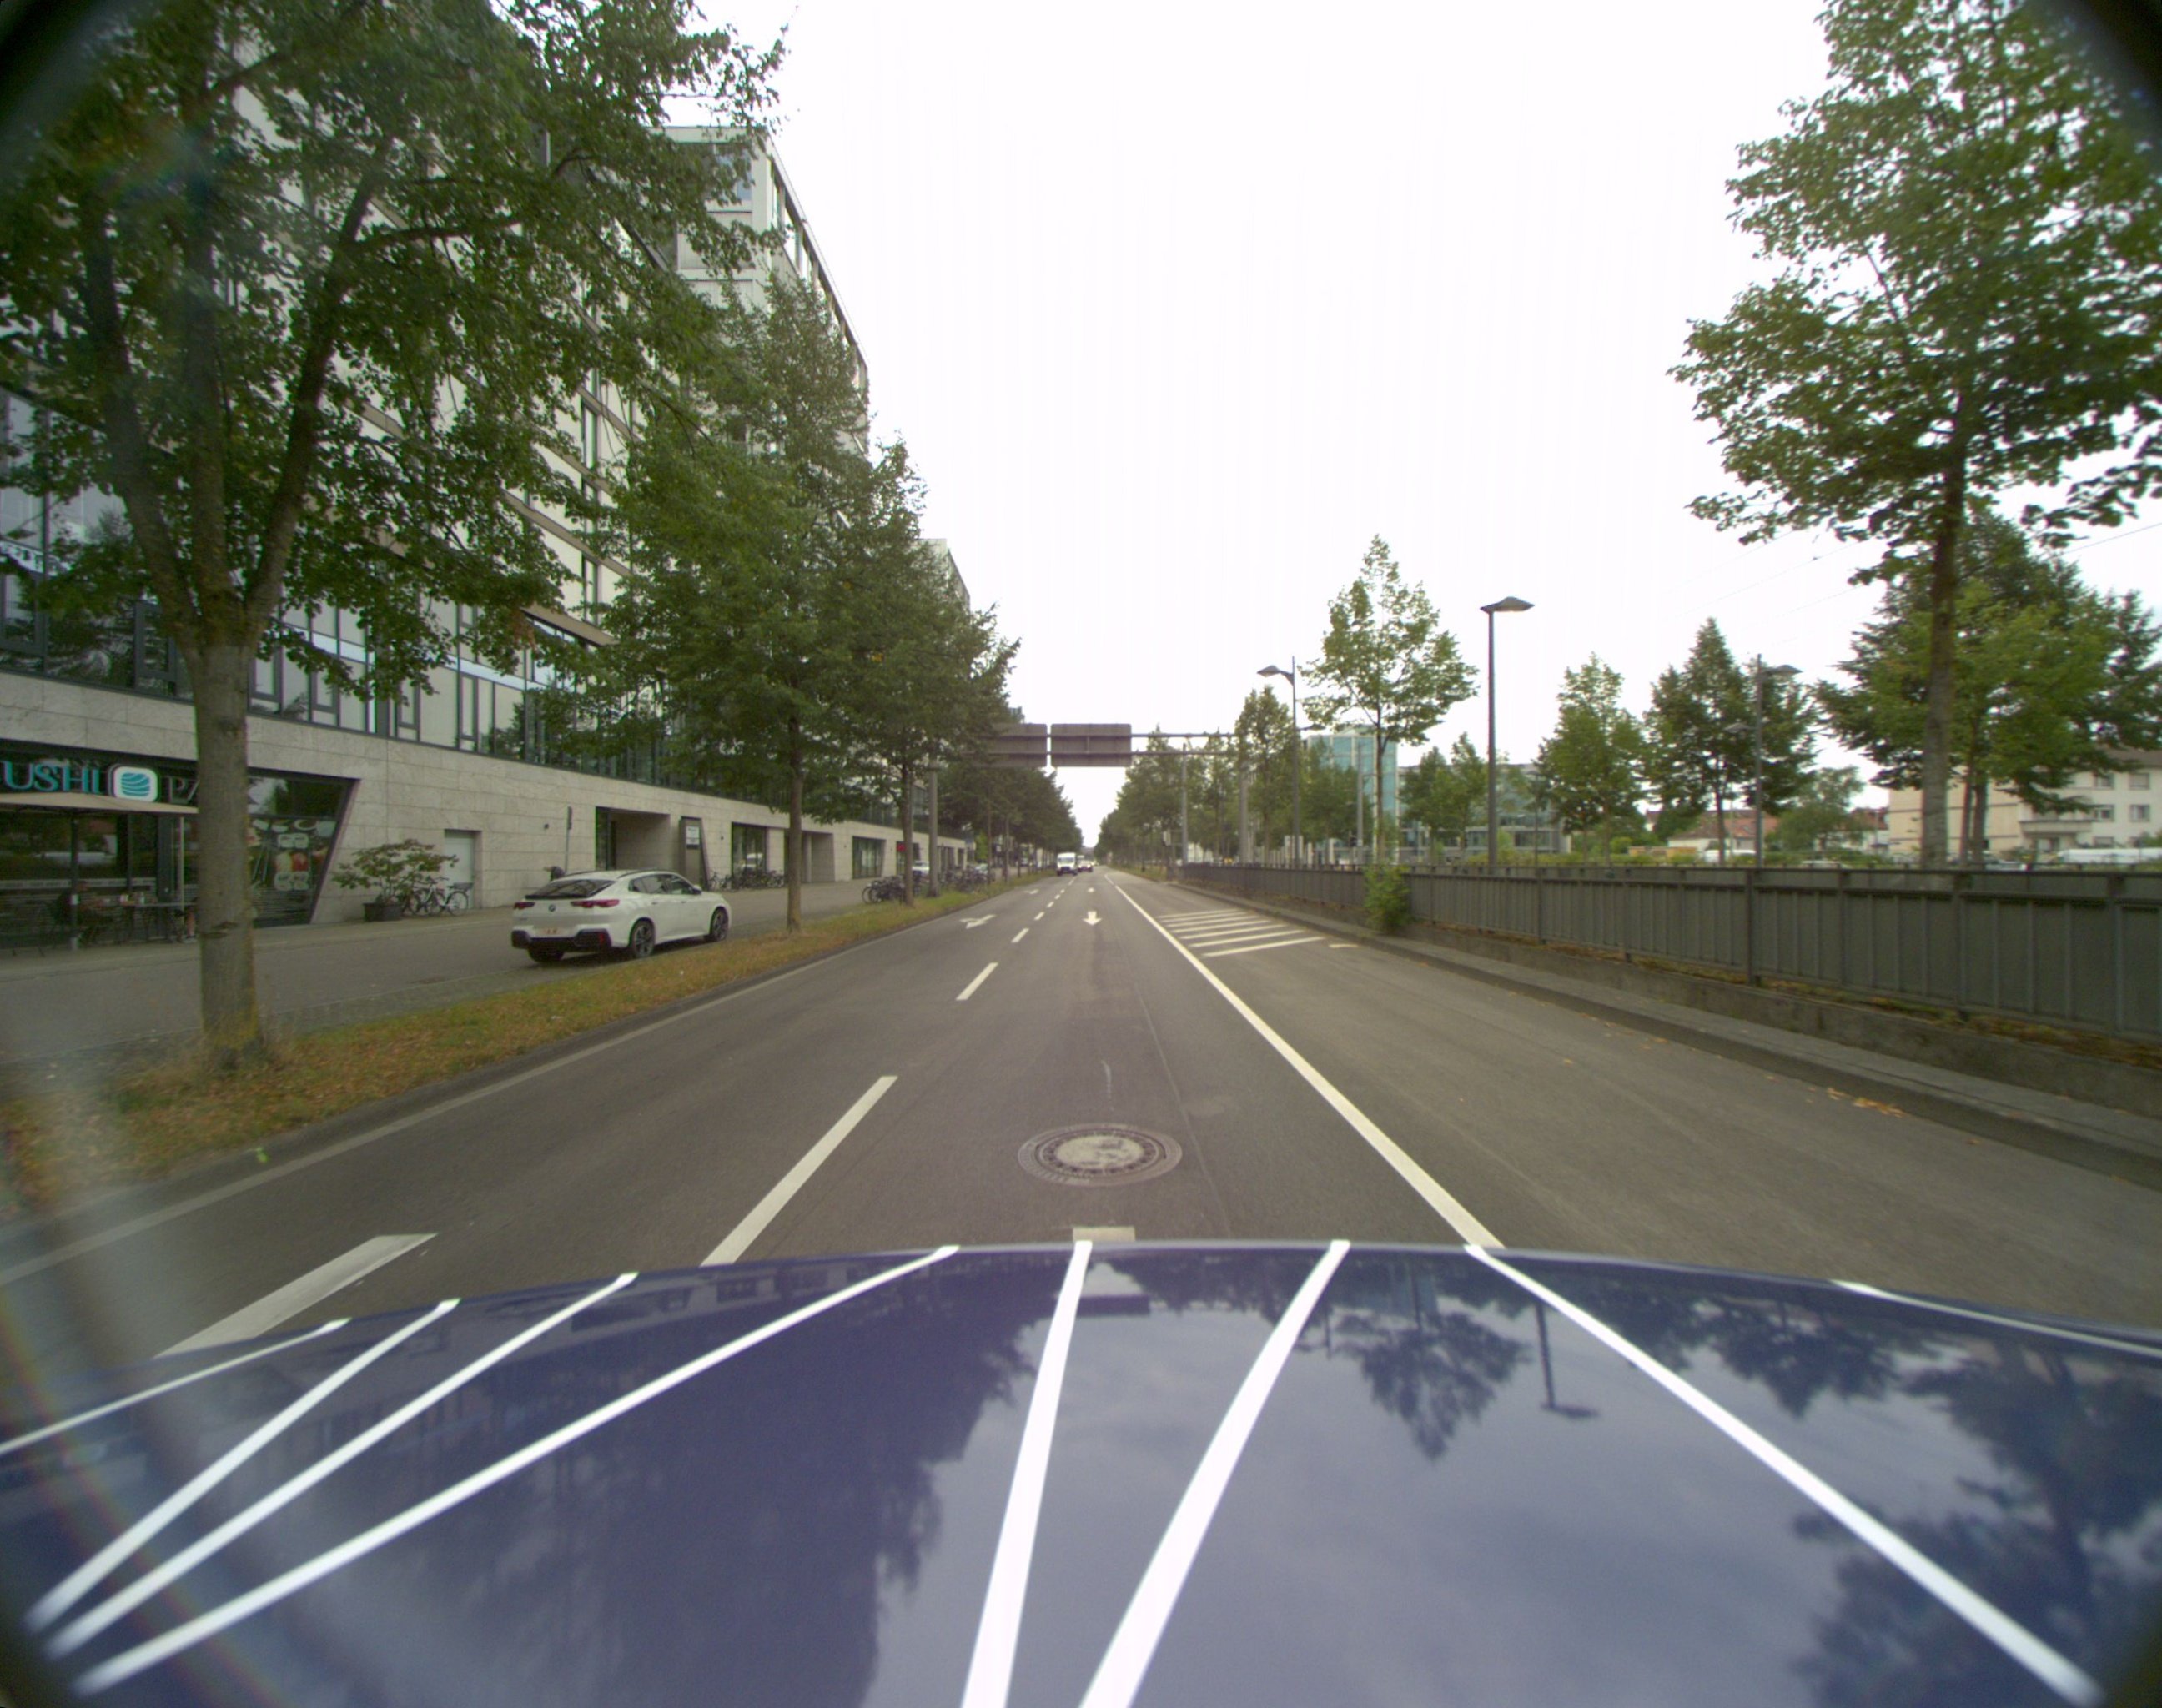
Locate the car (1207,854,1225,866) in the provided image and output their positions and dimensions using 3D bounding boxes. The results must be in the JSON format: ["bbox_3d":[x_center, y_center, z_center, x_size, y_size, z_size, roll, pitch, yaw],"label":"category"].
[{"bbox_3d":[22.154,1.004,124.667,1.998,1.933,5.096,0,0,0],"label":"car"}]

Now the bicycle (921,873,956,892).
[{"bbox_3d":[-7.438,1.487,39.743,1.720,0.900,0.588,-4,0,-8],"label":"bicycle"}]

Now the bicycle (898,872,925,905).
[{"bbox_3d":[-6.183,1.234,27.796,0.712,1.109,2.202,-4,0,-7],"label":"bicycle"}]

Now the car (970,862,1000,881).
[{"bbox_3d":[-7.622,1.358,60.671,1.765,1.413,4.183,-1,0,1],"label":"car"}]

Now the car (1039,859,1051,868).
[{"bbox_3d":[-6.536,1.731,137.214,1.954,1.521,4.000,0,0,0],"label":"car"}]

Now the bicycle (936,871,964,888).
[{"bbox_3d":[-7.719,1.497,44.752,1.533,0.947,0.552,-3,0,-2],"label":"bicycle"}]

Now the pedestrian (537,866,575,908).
[{"bbox_3d":[-17.756,1.109,25.703,0.758,1.398,0.721,0,0,8],"label":"pedestrian"}]

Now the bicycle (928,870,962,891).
[{"bbox_3d":[-7.469,1.455,41.719,1.778,1.006,0.610,-4,0,-8],"label":"bicycle"}]

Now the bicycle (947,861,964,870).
[{"bbox_3d":[-17.272,1.554,104.572,2.238,1.170,0.976,0,0,-7],"label":"bicycle"}]

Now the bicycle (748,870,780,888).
[{"bbox_3d":[-17.462,1.371,41.815,1.533,0.948,0.533,0,0,-2],"label":"bicycle"}]

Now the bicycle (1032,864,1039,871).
[{"bbox_3d":[-5.441,1.609,90.901,0.634,0.871,2.116,-3,0,2],"label":"bicycle"}]

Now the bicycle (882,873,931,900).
[{"bbox_3d":[-7.659,1.419,33.412,1.935,1.059,0.705,-4,0,-2],"label":"bicycle"}]

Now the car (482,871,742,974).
[{"bbox_3d":[-8.415,1.125,14.261,1.943,1.543,4.594,0,0,1],"label":"car"}]

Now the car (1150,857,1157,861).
[{"bbox_3d":[23.347,1.603,245.024,1.752,1.448,3.865,0,0,2],"label":"car"}]

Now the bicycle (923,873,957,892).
[{"bbox_3d":[-7.494,1.510,40.378,1.720,0.900,0.588,-4,0,-8],"label":"bicycle"}]

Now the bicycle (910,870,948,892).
[{"bbox_3d":[-7.504,1.334,37.593,1.749,0.968,0.609,-4,0,-8],"label":"bicycle"}]

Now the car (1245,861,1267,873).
[{"bbox_3d":[24.797,1.761,107.797,1.832,1.646,4.691,0,0,-1],"label":"car"}]

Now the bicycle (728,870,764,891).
[{"bbox_3d":[-17.220,1.355,39.053,1.602,1.020,0.533,0,0,-2],"label":"bicycle"}]

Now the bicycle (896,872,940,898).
[{"bbox_3d":[-7.591,1.442,35.481,1.935,1.059,0.543,-4,0,-8],"label":"bicycle"}]

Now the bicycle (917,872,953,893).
[{"bbox_3d":[-7.514,1.444,39.084,1.720,0.968,0.609,-4,0,-7],"label":"bicycle"}]

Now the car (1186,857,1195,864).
[{"bbox_3d":[25.232,1.484,175.482,1.752,1.448,3.865,0,0,2],"label":"car"}]

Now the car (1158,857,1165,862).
[{"bbox_3d":[23.860,1.611,225.389,1.752,1.448,3.865,0,0,2],"label":"car"}]

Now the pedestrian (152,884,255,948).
[{"bbox_3d":[-17.384,1.205,15.082,0.773,1.185,1.107,0,0,16],"label":"pedestrian"}]

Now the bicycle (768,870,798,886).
[{"bbox_3d":[-17.533,1.418,44.745,1.533,0.948,0.533,0,0,-2],"label":"bicycle"}]

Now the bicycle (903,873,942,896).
[{"bbox_3d":[-7.641,1.485,36.749,1.749,0.968,0.609,-4,0,-8],"label":"bicycle"}]

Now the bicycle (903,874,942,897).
[{"bbox_3d":[-7.523,1.481,36.127,1.749,0.968,0.609,-4,0,-8],"label":"bicycle"}]

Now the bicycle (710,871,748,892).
[{"bbox_3d":[-17.212,1.343,37.208,1.602,1.020,0.533,0,0,-2],"label":"bicycle"}]

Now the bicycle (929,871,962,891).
[{"bbox_3d":[-7.551,1.493,42.413,1.778,1.006,0.610,-3,0,-8],"label":"bicycle"}]

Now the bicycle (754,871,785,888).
[{"bbox_3d":[-17.482,1.412,42.640,1.533,0.948,0.533,0,0,-2],"label":"bicycle"}]

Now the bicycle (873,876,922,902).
[{"bbox_3d":[-7.720,1.478,31.979,1.865,0.945,0.653,-4,0,-2],"label":"bicycle"}]

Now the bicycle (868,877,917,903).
[{"bbox_3d":[-7.738,1.481,31.220,1.865,0.945,0.501,-4,0,-2],"label":"bicycle"}]

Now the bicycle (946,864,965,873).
[{"bbox_3d":[-17.458,2.033,105.803,2.426,1.170,1.202,0,0,-7],"label":"bicycle"}]

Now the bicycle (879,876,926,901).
[{"bbox_3d":[-7.677,1.473,32.720,1.865,0.945,0.612,-4,0,-2],"label":"bicycle"}]

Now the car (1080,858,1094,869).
[{"bbox_3d":[0.868,1.399,108.260,1.973,1.528,4.140,0,0,1],"label":"car"}]

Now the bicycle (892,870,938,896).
[{"bbox_3d":[-7.616,1.343,34.901,1.935,1.059,0.543,-4,0,-8],"label":"bicycle"}]

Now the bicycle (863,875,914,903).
[{"bbox_3d":[-7.725,1.412,30.563,1.865,0.989,0.574,-4,0,-2],"label":"bicycle"}]

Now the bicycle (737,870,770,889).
[{"bbox_3d":[-17.498,1.349,40.648,1.533,1.020,0.533,0,0,-2],"label":"bicycle"}]

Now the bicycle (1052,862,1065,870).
[{"bbox_3d":[-3.210,1.758,109.013,1.790,1.013,0.422,-3,1,-14],"label":"bicycle"}]

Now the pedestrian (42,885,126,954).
[{"bbox_3d":[-18.047,1.162,13.765,0.719,1.185,0.760,0,0,23],"label":"pedestrian"}]

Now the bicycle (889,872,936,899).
[{"bbox_3d":[-7.575,1.412,34.171,1.935,1.059,0.641,-4,0,-2],"label":"bicycle"}]

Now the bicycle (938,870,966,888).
[{"bbox_3d":[-7.470,1.452,43.979,1.533,0.947,0.484,-3,0,-2],"label":"bicycle"}]

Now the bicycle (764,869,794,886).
[{"bbox_3d":[-17.512,1.374,44.097,1.533,0.948,0.533,0,0,-2],"label":"bicycle"}]

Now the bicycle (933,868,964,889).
[{"bbox_3d":[-7.539,1.388,43.243,1.672,1.084,0.525,-3,0,-2],"label":"bicycle"}]

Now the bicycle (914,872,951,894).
[{"bbox_3d":[-7.487,1.447,38.434,1.749,0.968,0.609,-4,0,-8],"label":"bicycle"}]

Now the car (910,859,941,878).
[{"bbox_3d":[-14.034,1.263,68.808,1.862,1.579,4.240,2,0,1],"label":"car"}]

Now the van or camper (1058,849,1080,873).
[{"bbox_3d":[-1.294,0.742,83.571,2.183,2.493,6.339,-2,0,0],"label":"van or camper"}]

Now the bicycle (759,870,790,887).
[{"bbox_3d":[-17.463,1.409,43.245,1.533,0.948,0.533,0,0,-2],"label":"bicycle"}]
